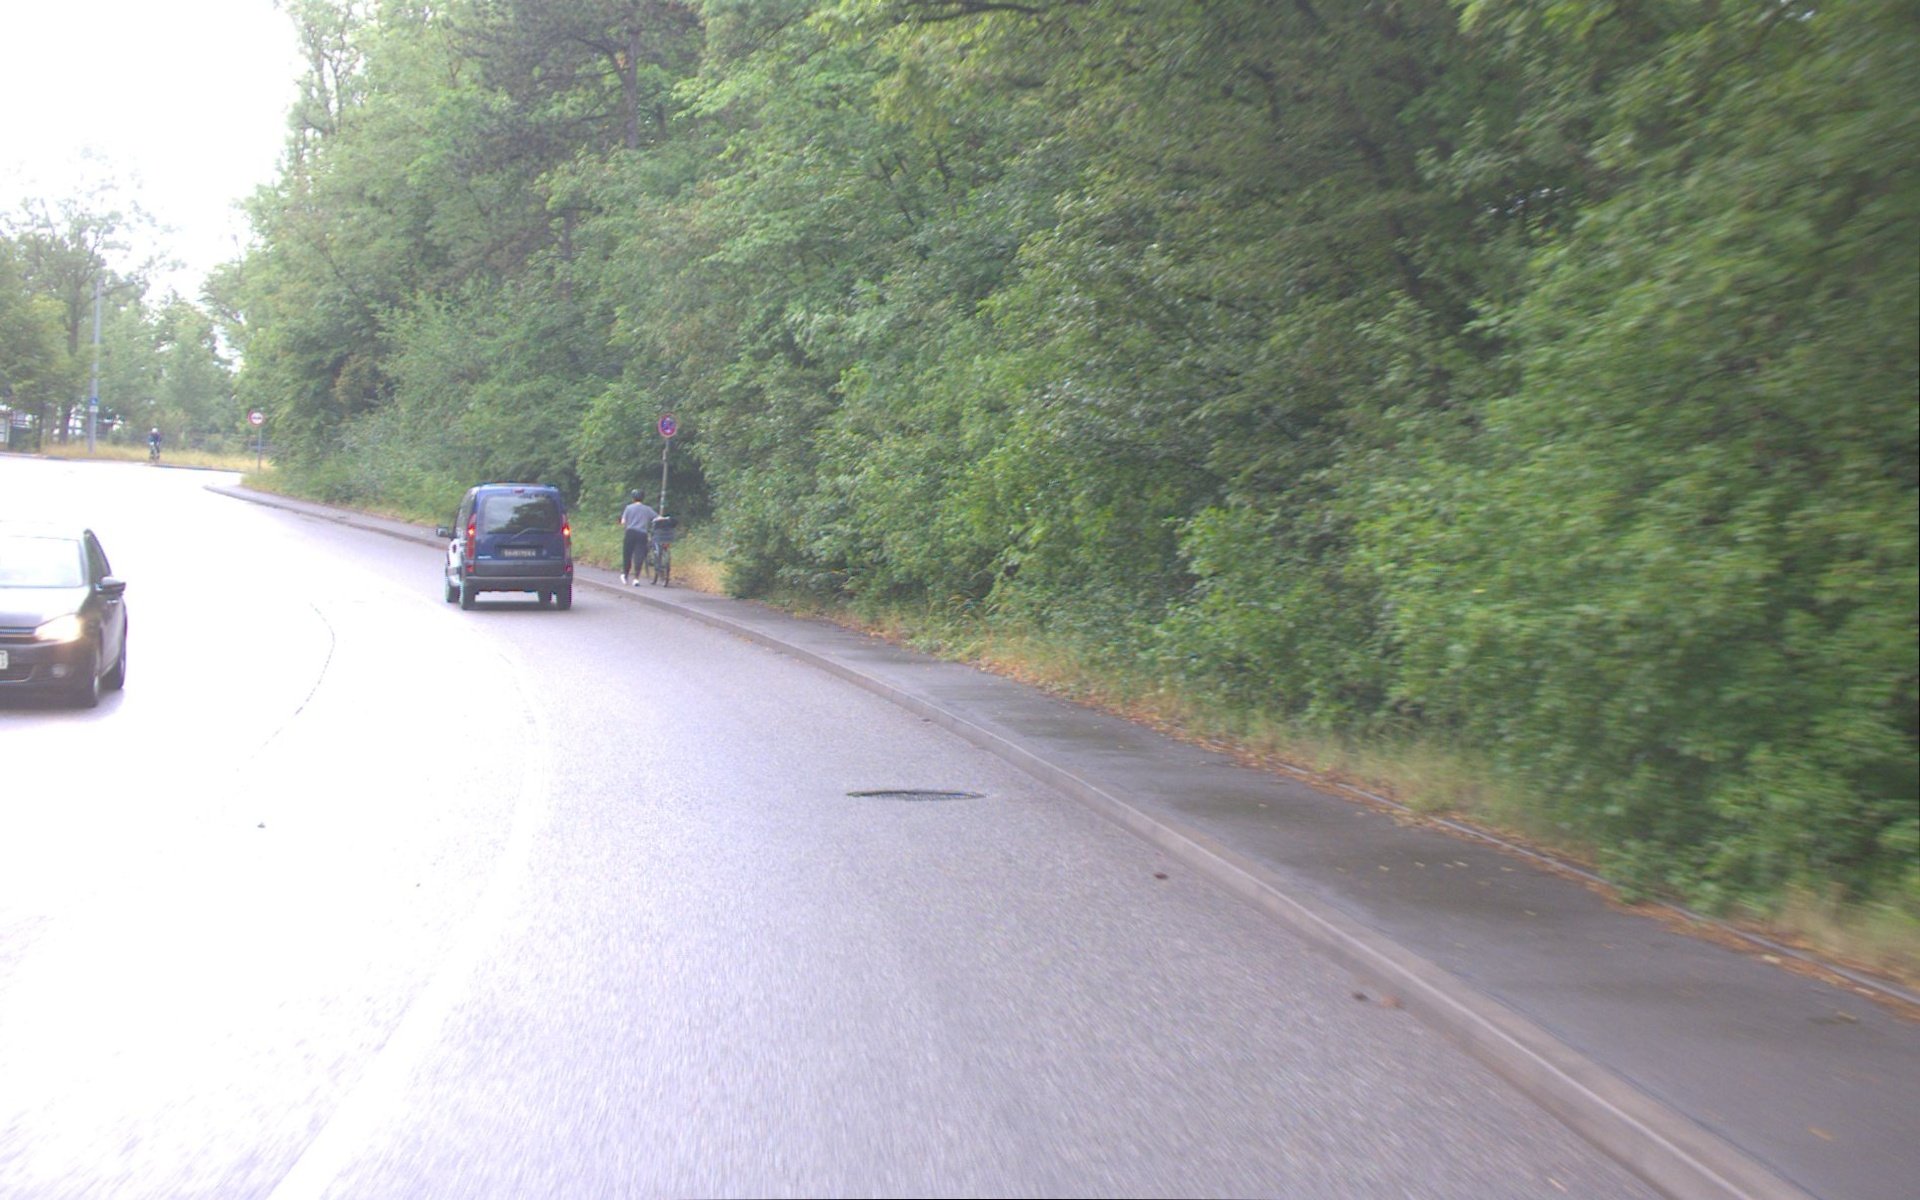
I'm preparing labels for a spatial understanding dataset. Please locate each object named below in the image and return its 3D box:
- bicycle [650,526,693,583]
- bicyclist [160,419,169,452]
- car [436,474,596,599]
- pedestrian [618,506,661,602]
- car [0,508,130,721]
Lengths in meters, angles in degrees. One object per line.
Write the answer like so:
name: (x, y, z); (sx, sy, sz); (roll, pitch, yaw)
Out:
bicycle: (-4.730, -0.751, 56.319); (0.355, 0.846, 1.744); (-2, 4, -16)
bicyclist: (-39.674, -8.202, 171.502); (0.336, 1.568, 1.299); (1, 5, -15)
car: (-6.699, -0.954, 51.569); (1.826, 1.787, 4.001); (0, 1, -16)
pedestrian: (-5.318, -0.757, 56.963); (0.564, 1.571, 0.770); (-1, 0, -15)
car: (-8.094, 0.058, 29.012); (1.826, 1.435, 4.002); (1, 4, -10)
